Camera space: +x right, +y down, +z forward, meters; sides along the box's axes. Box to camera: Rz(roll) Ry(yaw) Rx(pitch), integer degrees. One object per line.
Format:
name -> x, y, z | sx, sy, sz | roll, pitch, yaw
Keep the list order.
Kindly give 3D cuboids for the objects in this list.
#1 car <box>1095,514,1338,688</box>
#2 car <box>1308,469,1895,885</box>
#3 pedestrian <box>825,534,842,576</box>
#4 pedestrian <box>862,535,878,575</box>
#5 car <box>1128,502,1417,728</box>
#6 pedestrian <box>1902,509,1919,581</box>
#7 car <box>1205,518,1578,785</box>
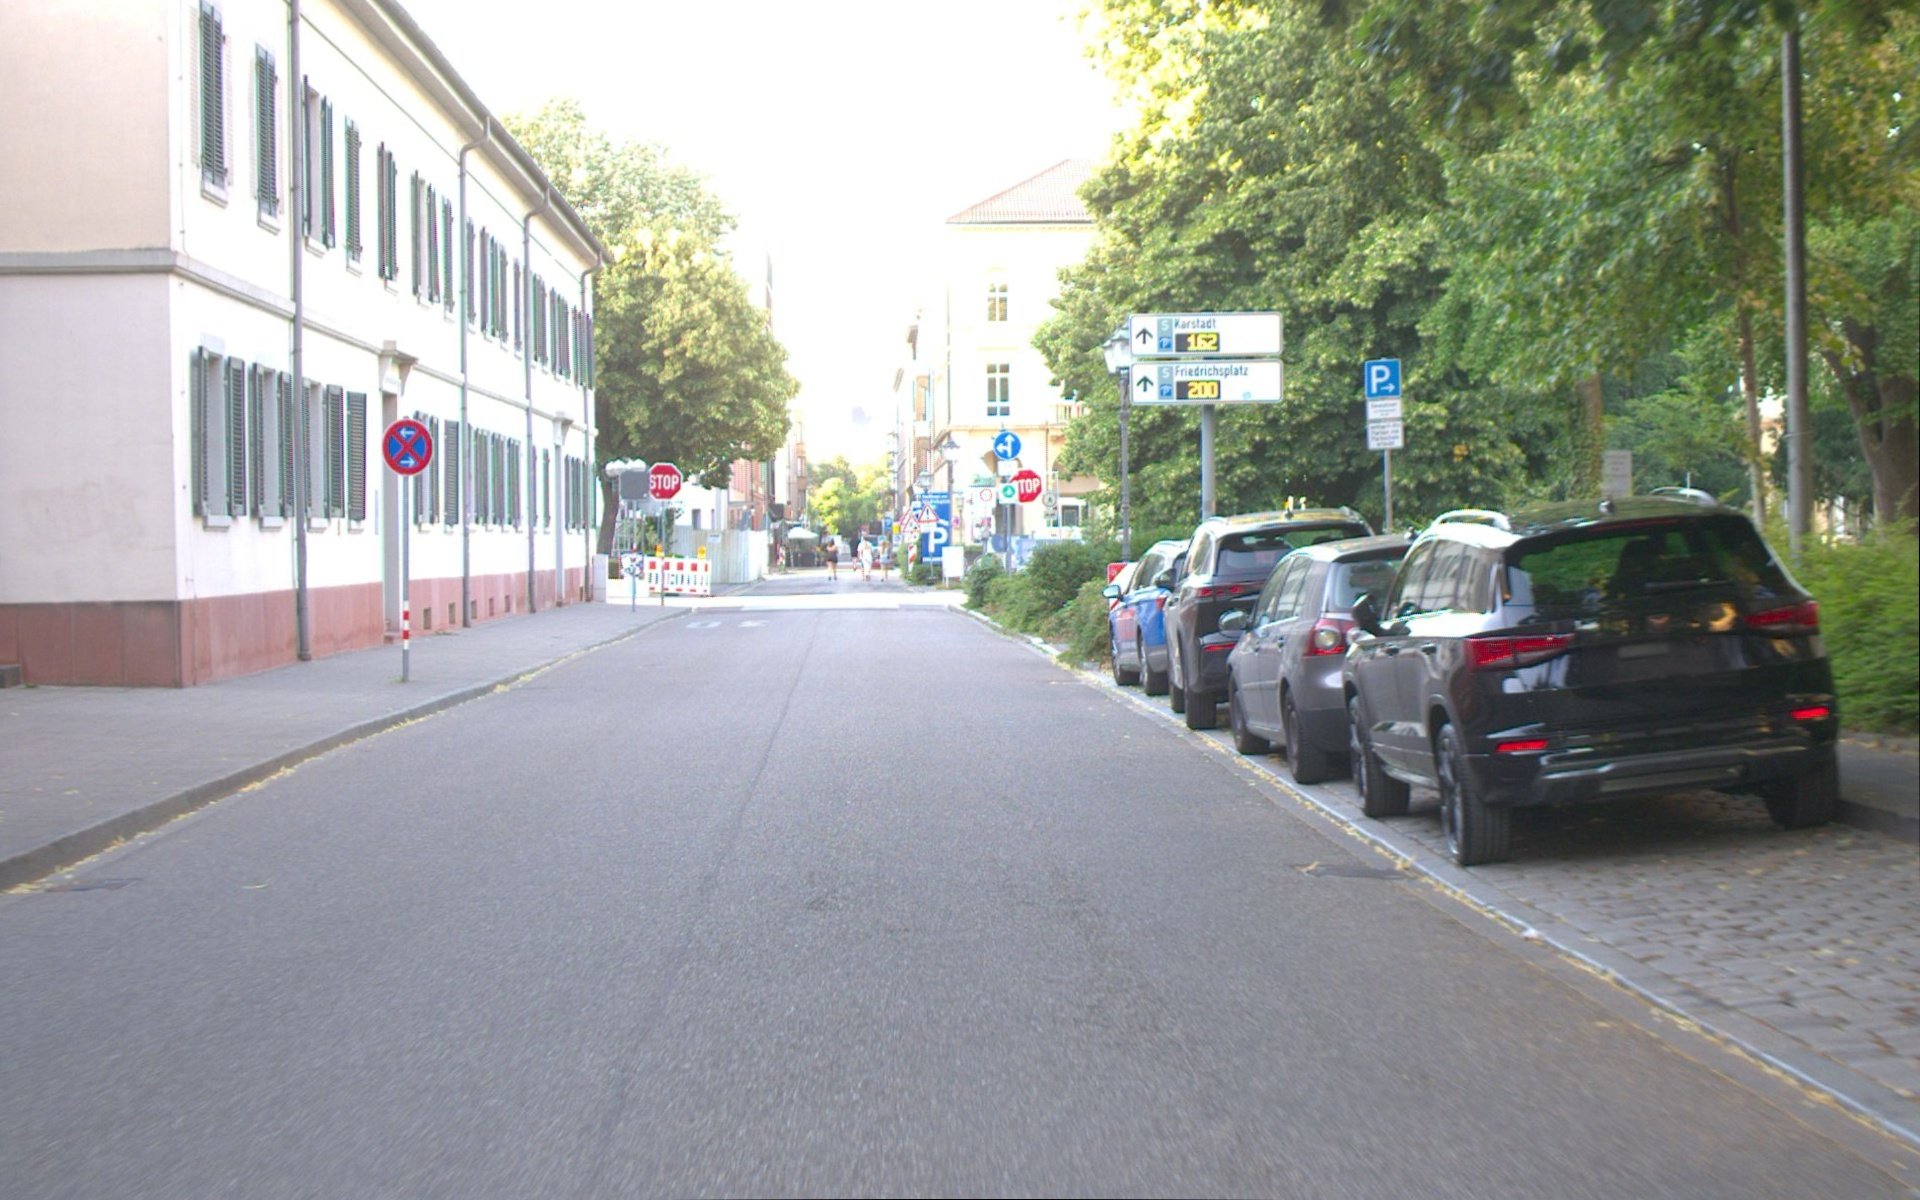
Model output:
car -> 2.468, -0.027, 34.168 | 1.724, 1.483, 4.611 | -4, 1, -3
car -> 3.001, 0.273, 17.064 | 1.807, 1.645, 4.419 | -5, 2, -2
pedestrian -> -5.248, -1.863, 142.150 | 0.657, 1.754, 0.745 | -1, 1, -1
pedestrian -> -3.675, -1.829, 140.351 | 0.657, 1.611, 0.745 | -1, 1, -1
car -> 2.449, 0.095, 28.030 | 1.724, 1.646, 4.713 | -1, 0, -2
pedestrian -> 18.292, -1.045, 64.692 | 0.758, 1.342, 0.788 | -1, 1, -18
car -> 2.702, 0.291, 22.399 | 1.724, 1.533, 4.190 | -1, 0, -2
